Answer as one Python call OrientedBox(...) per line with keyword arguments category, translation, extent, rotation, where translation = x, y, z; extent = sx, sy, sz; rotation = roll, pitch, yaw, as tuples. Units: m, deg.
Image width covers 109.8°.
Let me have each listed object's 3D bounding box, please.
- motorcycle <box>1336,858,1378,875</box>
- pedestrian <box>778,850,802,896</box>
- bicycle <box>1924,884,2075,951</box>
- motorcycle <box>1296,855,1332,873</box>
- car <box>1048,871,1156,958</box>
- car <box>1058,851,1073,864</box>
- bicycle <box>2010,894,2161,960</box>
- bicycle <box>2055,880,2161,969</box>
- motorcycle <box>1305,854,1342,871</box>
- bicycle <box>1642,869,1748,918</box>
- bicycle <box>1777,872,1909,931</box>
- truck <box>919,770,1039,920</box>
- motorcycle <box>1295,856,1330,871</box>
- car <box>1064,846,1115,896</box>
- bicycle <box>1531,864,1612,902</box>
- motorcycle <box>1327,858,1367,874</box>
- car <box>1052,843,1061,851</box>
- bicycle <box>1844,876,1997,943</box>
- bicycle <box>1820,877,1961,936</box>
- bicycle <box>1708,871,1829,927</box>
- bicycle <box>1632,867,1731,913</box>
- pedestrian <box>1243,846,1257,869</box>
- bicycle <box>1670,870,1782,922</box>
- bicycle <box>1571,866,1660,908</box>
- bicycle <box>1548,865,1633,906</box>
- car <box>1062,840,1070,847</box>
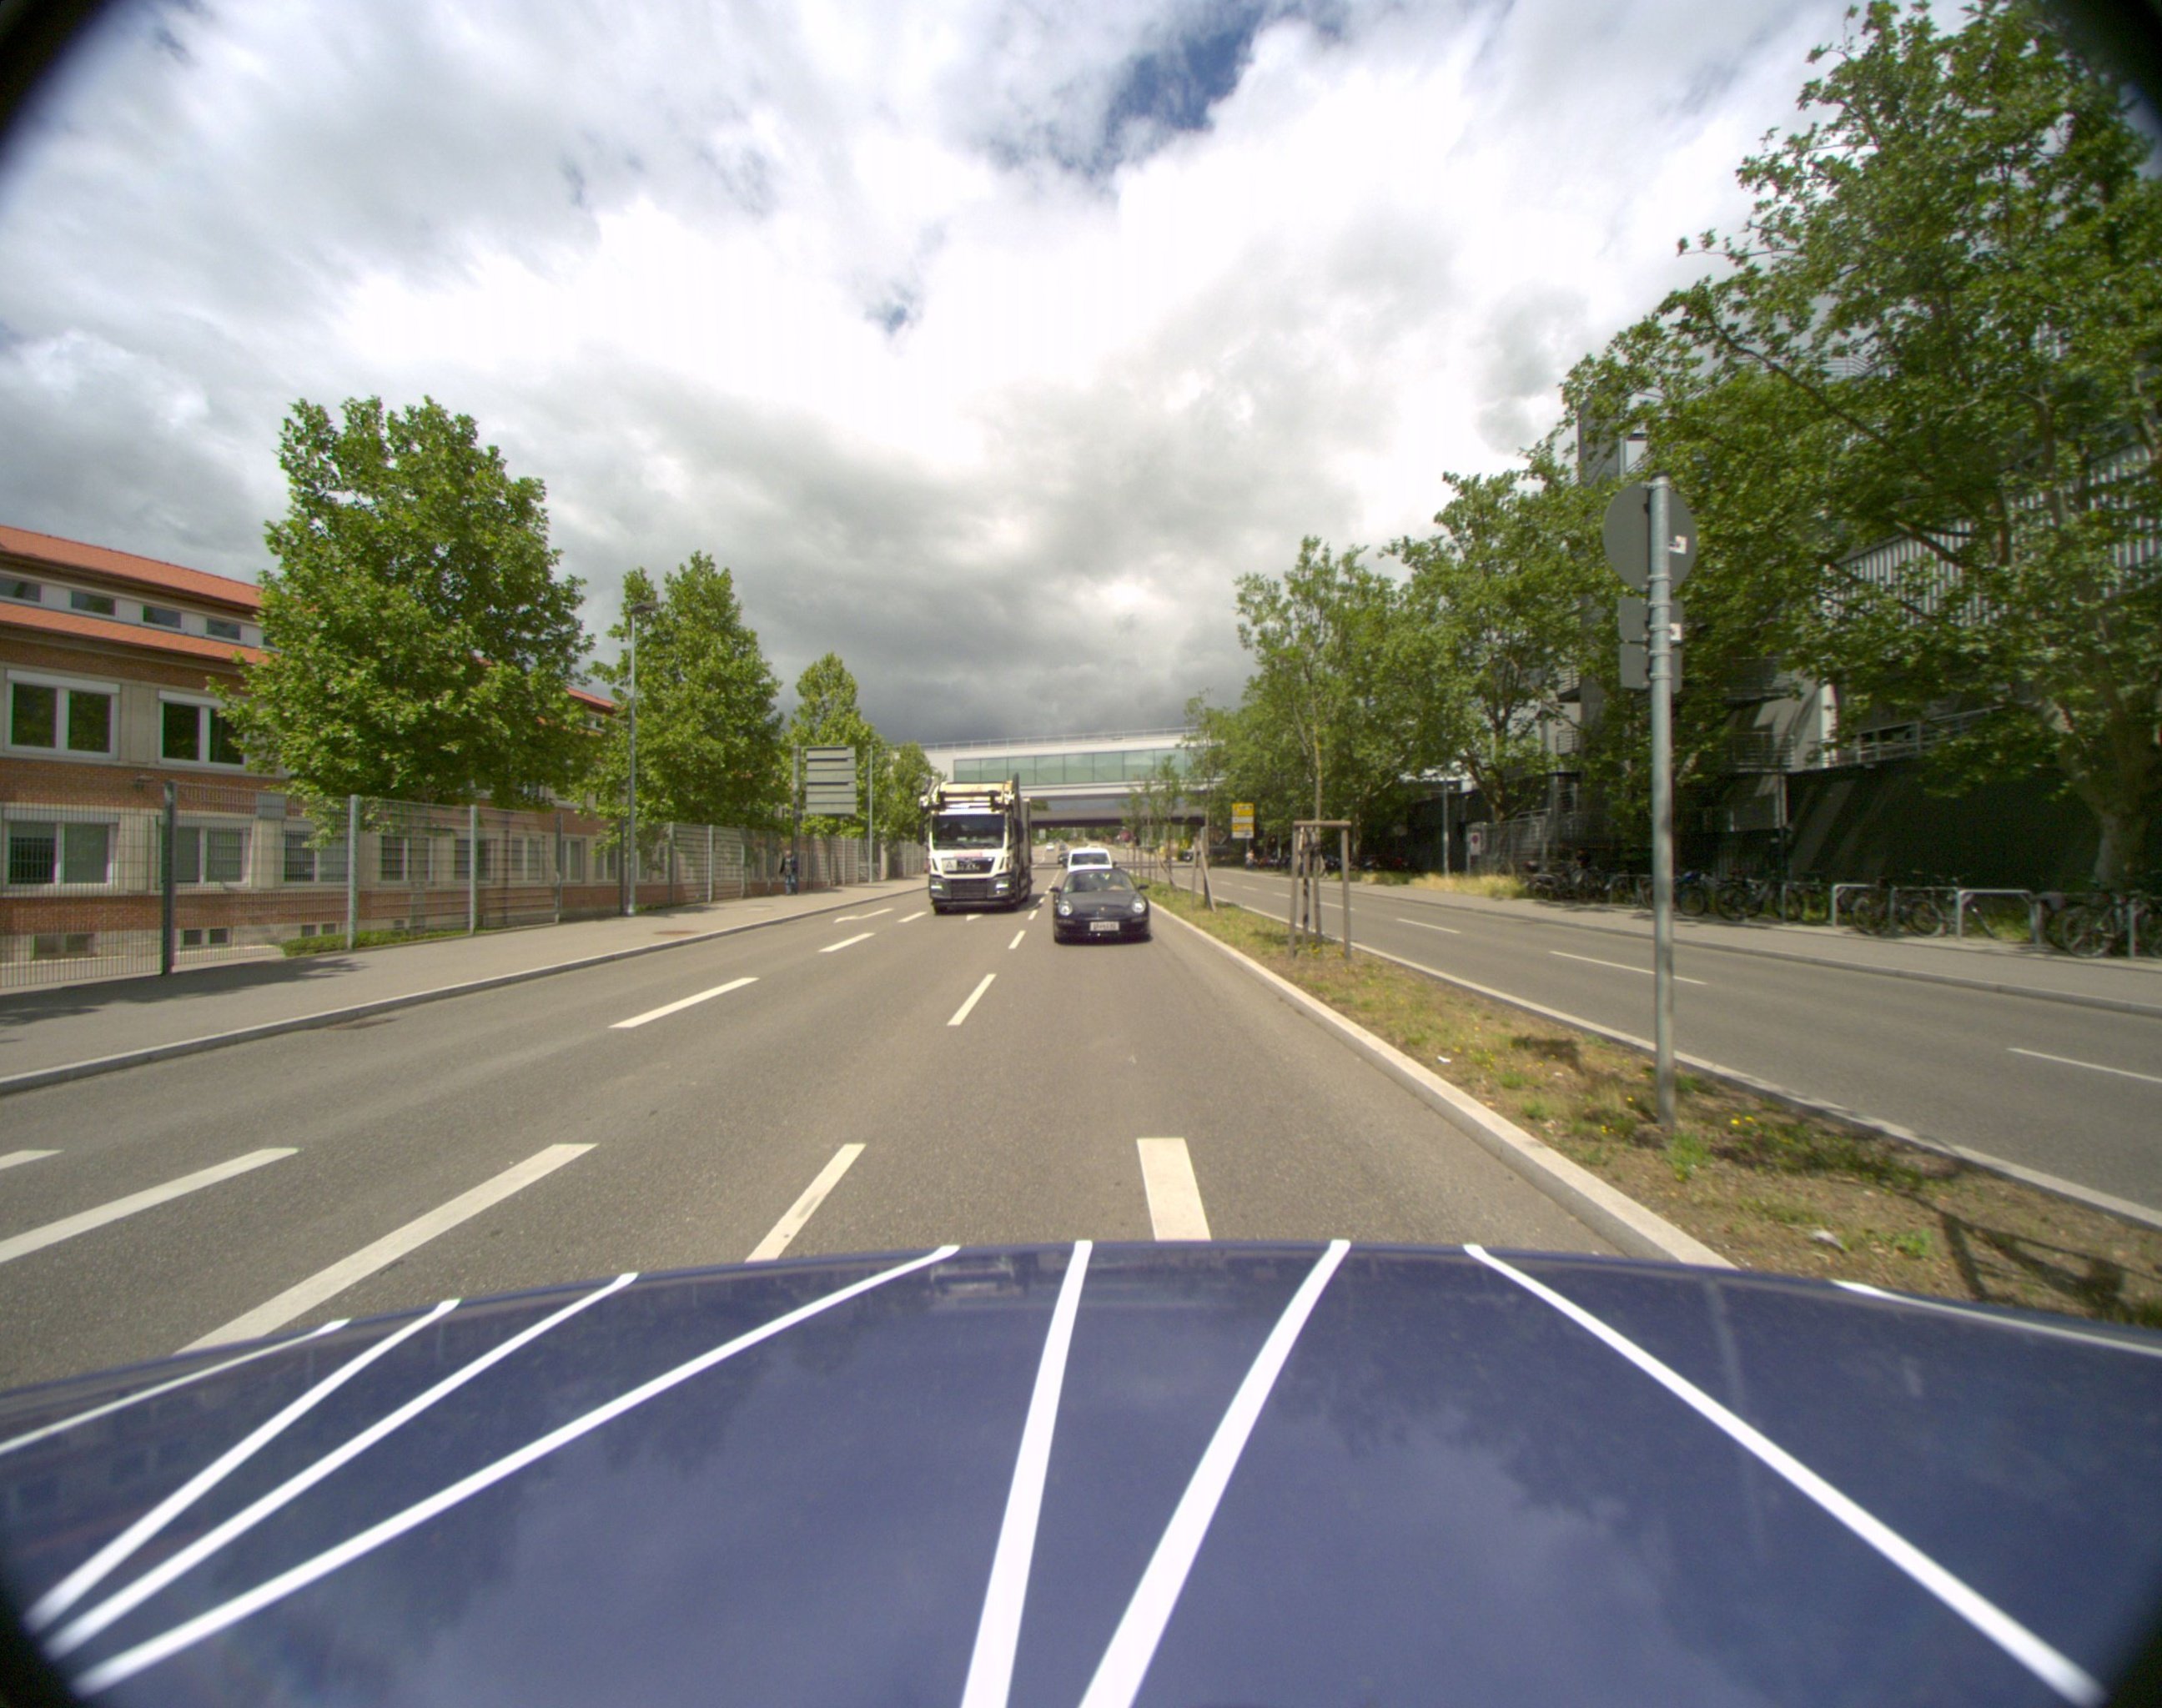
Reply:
OrientedBox(category="motorcycle", translation=(15.396, 0.683, 42.393), extent=(2.133, 0.893, 0.534), rotation=(-1, 0, 1))
OrientedBox(category="pedestrian", translation=(-11.385, 0.754, 29.773), extent=(0.698, 1.772, 0.658), rotation=(1, 1, -5))
OrientedBox(category="bicycle", translation=(14.754, 1.019, 12.216), extent=(1.993, 0.992, 0.382), rotation=(-1, 1, -1))
OrientedBox(category="motorcycle", translation=(14.990, 0.650, 48.924), extent=(2.133, 1.131, 0.534), rotation=(-1, 0, 1))
OrientedBox(category="car", translation=(0.367, 1.025, 14.221), extent=(1.710, 1.280, 3.806), rotation=(-1, 0, 1))
OrientedBox(category="car", translation=(-2.027, 0.453, 100.623), extent=(1.746, 1.647, 3.545), rotation=(-1, 0, 1))
OrientedBox(category="bicycle", translation=(14.957, 1.077, 11.237), extent=(1.993, 0.885, 0.382), rotation=(-1, 1, -1))
OrientedBox(category="bicycle", translation=(14.355, 0.932, 10.234), extent=(1.993, 1.121, 0.382), rotation=(-1, 1, -1))
OrientedBox(category="motorcycle", translation=(15.204, 0.527, 47.705), extent=(2.133, 0.963, 0.534), rotation=(-1, 0, 1))
OrientedBox(category="bicycle", translation=(14.506, 0.929, 17.968), extent=(2.129, 1.104, 0.382), rotation=(-1, 1, 3))
OrientedBox(category="bicycle", translation=(15.043, 0.932, 15.018), extent=(2.129, 1.104, 0.382), rotation=(-1, 1, 3))
OrientedBox(category="truck", translation=(-2.977, -0.292, 25.248), extent=(2.495, 3.890, 10.172), rotation=(-2, 1, 0))
OrientedBox(category="motorcycle", translation=(15.295, 0.624, 50.322), extent=(2.133, 0.963, 0.534), rotation=(-1, 0, 1))
OrientedBox(category="car", translation=(0.355, 0.639, 30.591), extent=(1.862, 1.800, 4.906), rotation=(-1, 0, 1))
OrientedBox(category="bicycle", translation=(14.750, 0.871, 22.859), extent=(2.129, 1.104, 0.382), rotation=(-1, 1, 3))
OrientedBox(category="motorcycle", translation=(15.599, 0.718, 44.502), extent=(2.133, 0.880, 0.534), rotation=(-1, 0, 1))
OrientedBox(category="car", translation=(-6.633, -1.794, 206.944), extent=(1.925, 2.082, 4.657), rotation=(-1, 0, 2))
OrientedBox(category="bicycle", translation=(14.579, 0.962, 13.217), extent=(2.129, 1.089, 0.382), rotation=(-1, 1, 3))
OrientedBox(category="bicycle", translation=(15.012, 0.974, 14.111), extent=(2.129, 1.025, 0.382), rotation=(-1, 1, 3))
OrientedBox(category="bicycle", translation=(14.502, 0.949, 16.057), extent=(2.129, 1.104, 0.382), rotation=(-1, 1, 3))
OrientedBox(category="bicycle", translation=(15.066, 0.900, 19.083), extent=(2.129, 1.104, 0.382), rotation=(-1, 1, 3))
OrientedBox(category="pedestrian", translation=(12.691, 0.293, 57.002), extent=(0.900, 1.710, 0.673), rotation=(-1, 1, 1))
OrientedBox(category="bicycle", translation=(14.481, 0.937, 17.081), extent=(2.129, 1.104, 0.382), rotation=(-1, 1, 3))
OrientedBox(category="bicycle", translation=(14.824, 0.920, 21.095), extent=(2.129, 1.104, 0.382), rotation=(-1, 1, 3))
OrientedBox(category="bicycle", translation=(14.754, 0.907, 22.018), extent=(2.129, 1.104, 0.382), rotation=(-1, 1, 3))
OrientedBox(category="car", translation=(-4.089, -2.802, 211.320), extent=(1.862, 1.800, 4.357), rotation=(-3, 0, 1))
